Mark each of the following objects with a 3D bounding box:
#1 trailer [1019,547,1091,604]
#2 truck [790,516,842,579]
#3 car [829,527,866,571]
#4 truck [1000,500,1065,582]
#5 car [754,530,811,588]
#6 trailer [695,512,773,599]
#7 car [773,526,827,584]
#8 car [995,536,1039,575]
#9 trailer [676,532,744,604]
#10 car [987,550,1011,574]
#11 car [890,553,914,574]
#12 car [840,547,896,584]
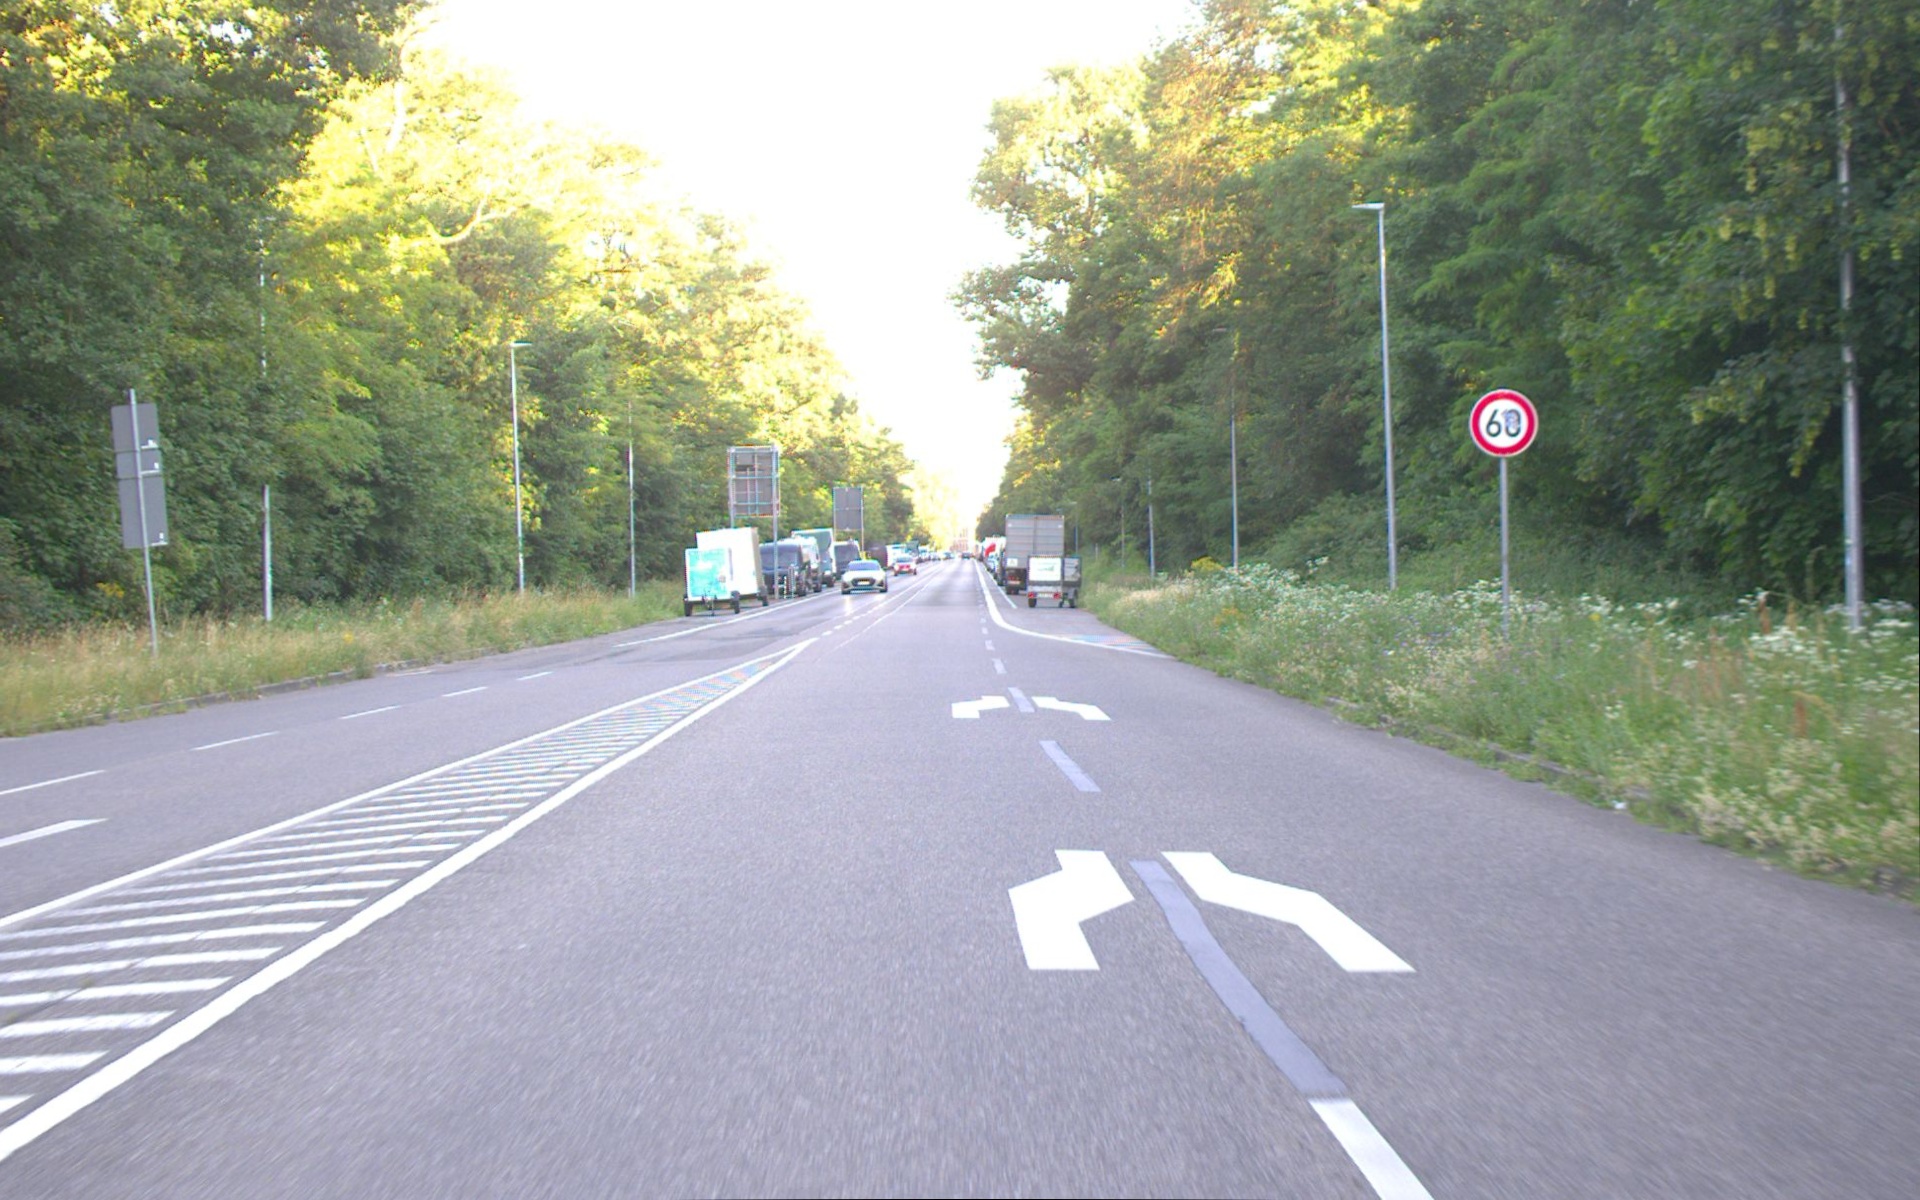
[{"bbox_3d":[2.998,-0.782,107.862,1.457,1.656,3.775,-2,1,13],"label":"trailer"},{"bbox_3d":[-8.022,-2.950,192.169,2.504,3.317,6.842,-2,1,0],"label":"truck"},{"bbox_3d":[-7.406,-3.347,226.811,2.186,2.779,5.334,-2,1,0],"label":"car"},{"bbox_3d":[2.977,-2.387,140.200,2.589,3.244,7.220,0,1,2],"label":"truck"},{"bbox_3d":[-7.664,-1.791,149.002,1.993,2.356,5.766,-4,1,0],"label":"car"},{"bbox_3d":[-8.101,-1.614,123.738,2.326,2.914,5.627,-4,1,0],"label":"trailer"},{"bbox_3d":[-7.718,-2.197,166.596,2.249,2.638,5.721,-2,1,0],"label":"car"},{"bbox_3d":[2.884,-2.235,174.116,1.993,1.948,4.300,0,1,-2],"label":"car"},{"bbox_3d":[-7.844,-1.032,108.131,1.817,2.160,4.143,-2,1,-1],"label":"trailer"},{"bbox_3d":[2.411,-2.353,213.114,1.147,1.247,2.754,-10,2,-2],"label":"car"},{"bbox_3d":[-4.363,-2.750,258.579,1.682,1.481,4.038,-2,1,-2],"label":"car"},{"bbox_3d":[-4.046,-1.538,152.019,2.064,1.430,4.465,-4,1,2],"label":"car"}]
